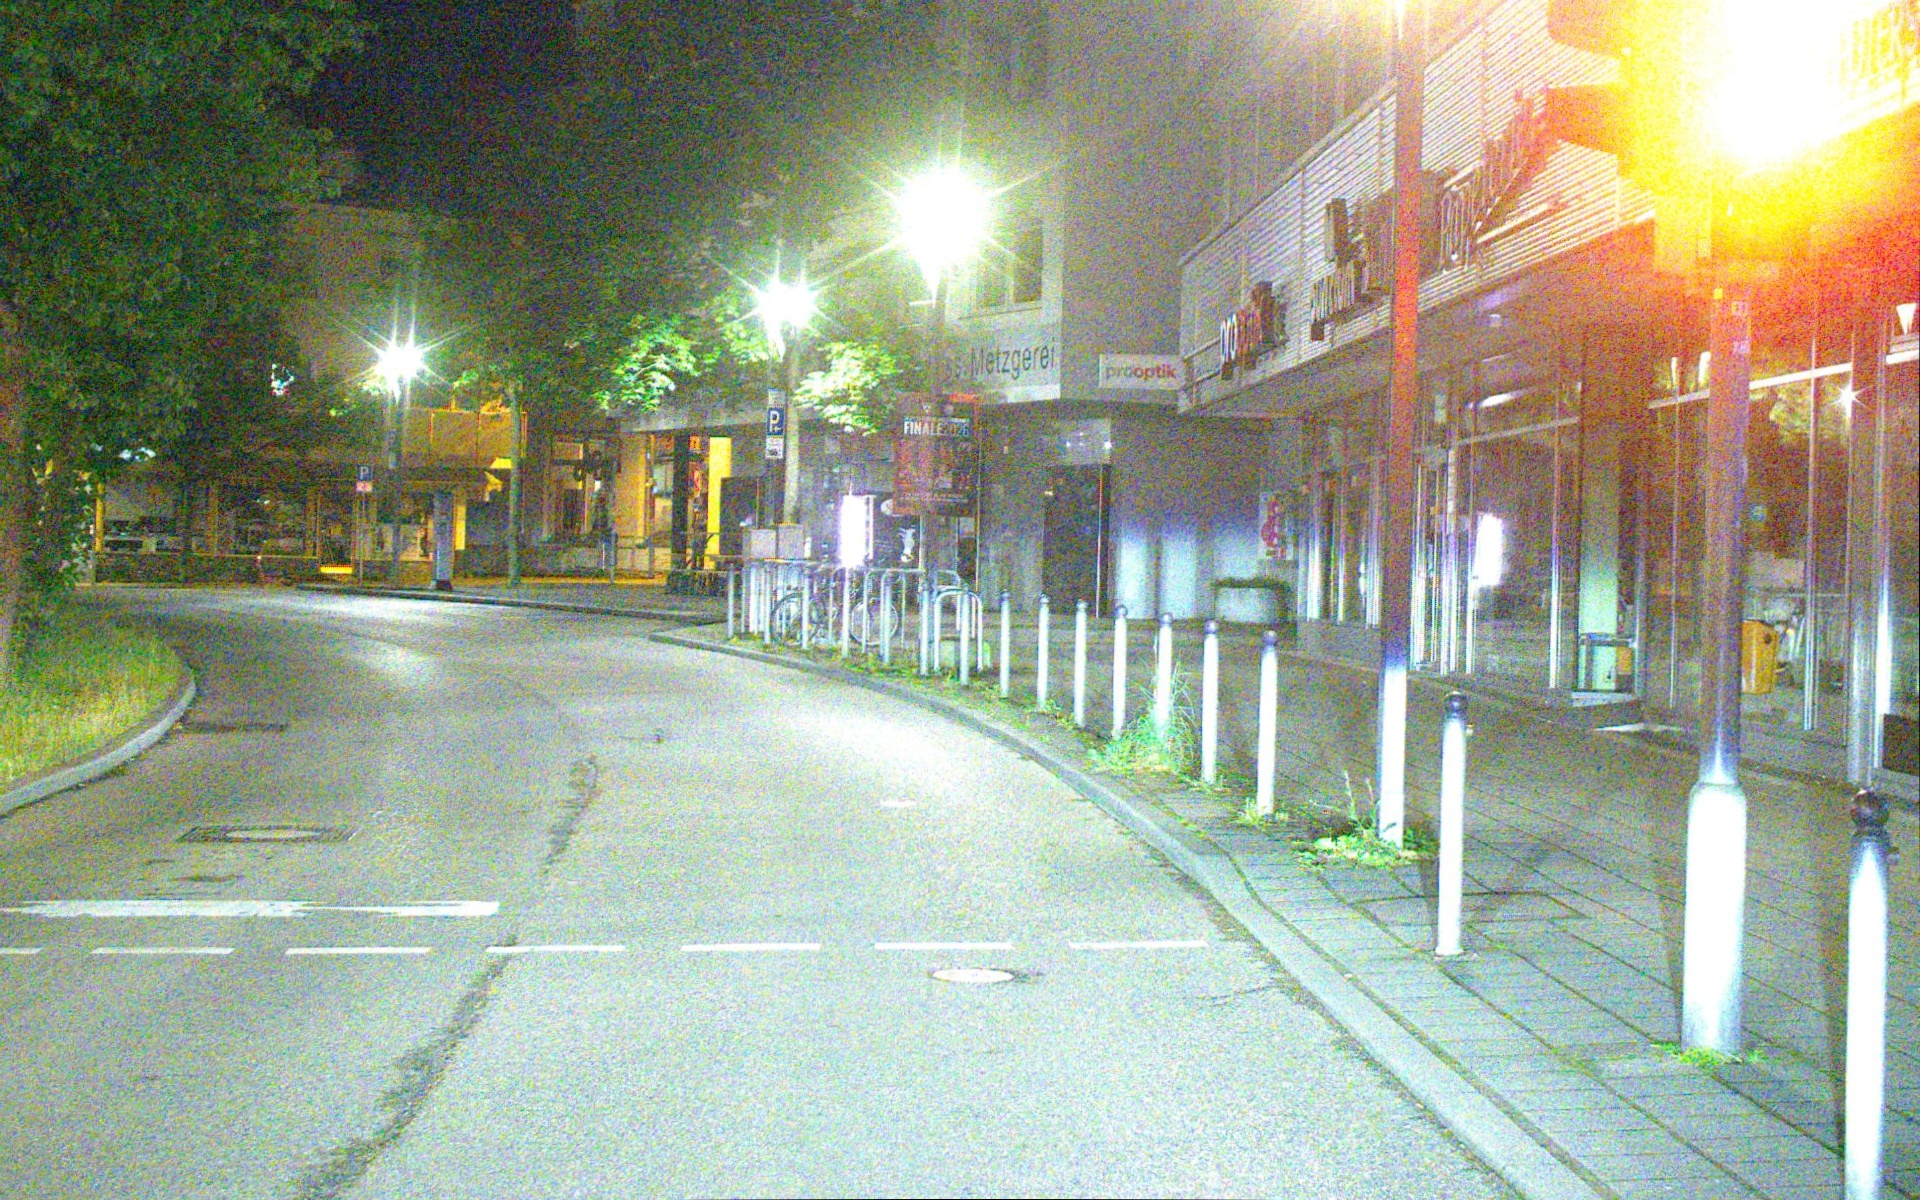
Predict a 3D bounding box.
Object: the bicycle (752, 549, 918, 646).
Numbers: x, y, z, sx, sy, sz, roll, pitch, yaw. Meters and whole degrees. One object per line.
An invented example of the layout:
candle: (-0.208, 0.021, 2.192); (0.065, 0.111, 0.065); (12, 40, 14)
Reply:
bicycle: (-1.428, -0.026, 39.313); (1.749, 1.059, 0.656); (1, 2, -26)

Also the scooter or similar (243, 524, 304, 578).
scooter or similar: (-16.286, -1.163, 81.507); (1.246, 1.223, 0.598); (2, 1, -29)
